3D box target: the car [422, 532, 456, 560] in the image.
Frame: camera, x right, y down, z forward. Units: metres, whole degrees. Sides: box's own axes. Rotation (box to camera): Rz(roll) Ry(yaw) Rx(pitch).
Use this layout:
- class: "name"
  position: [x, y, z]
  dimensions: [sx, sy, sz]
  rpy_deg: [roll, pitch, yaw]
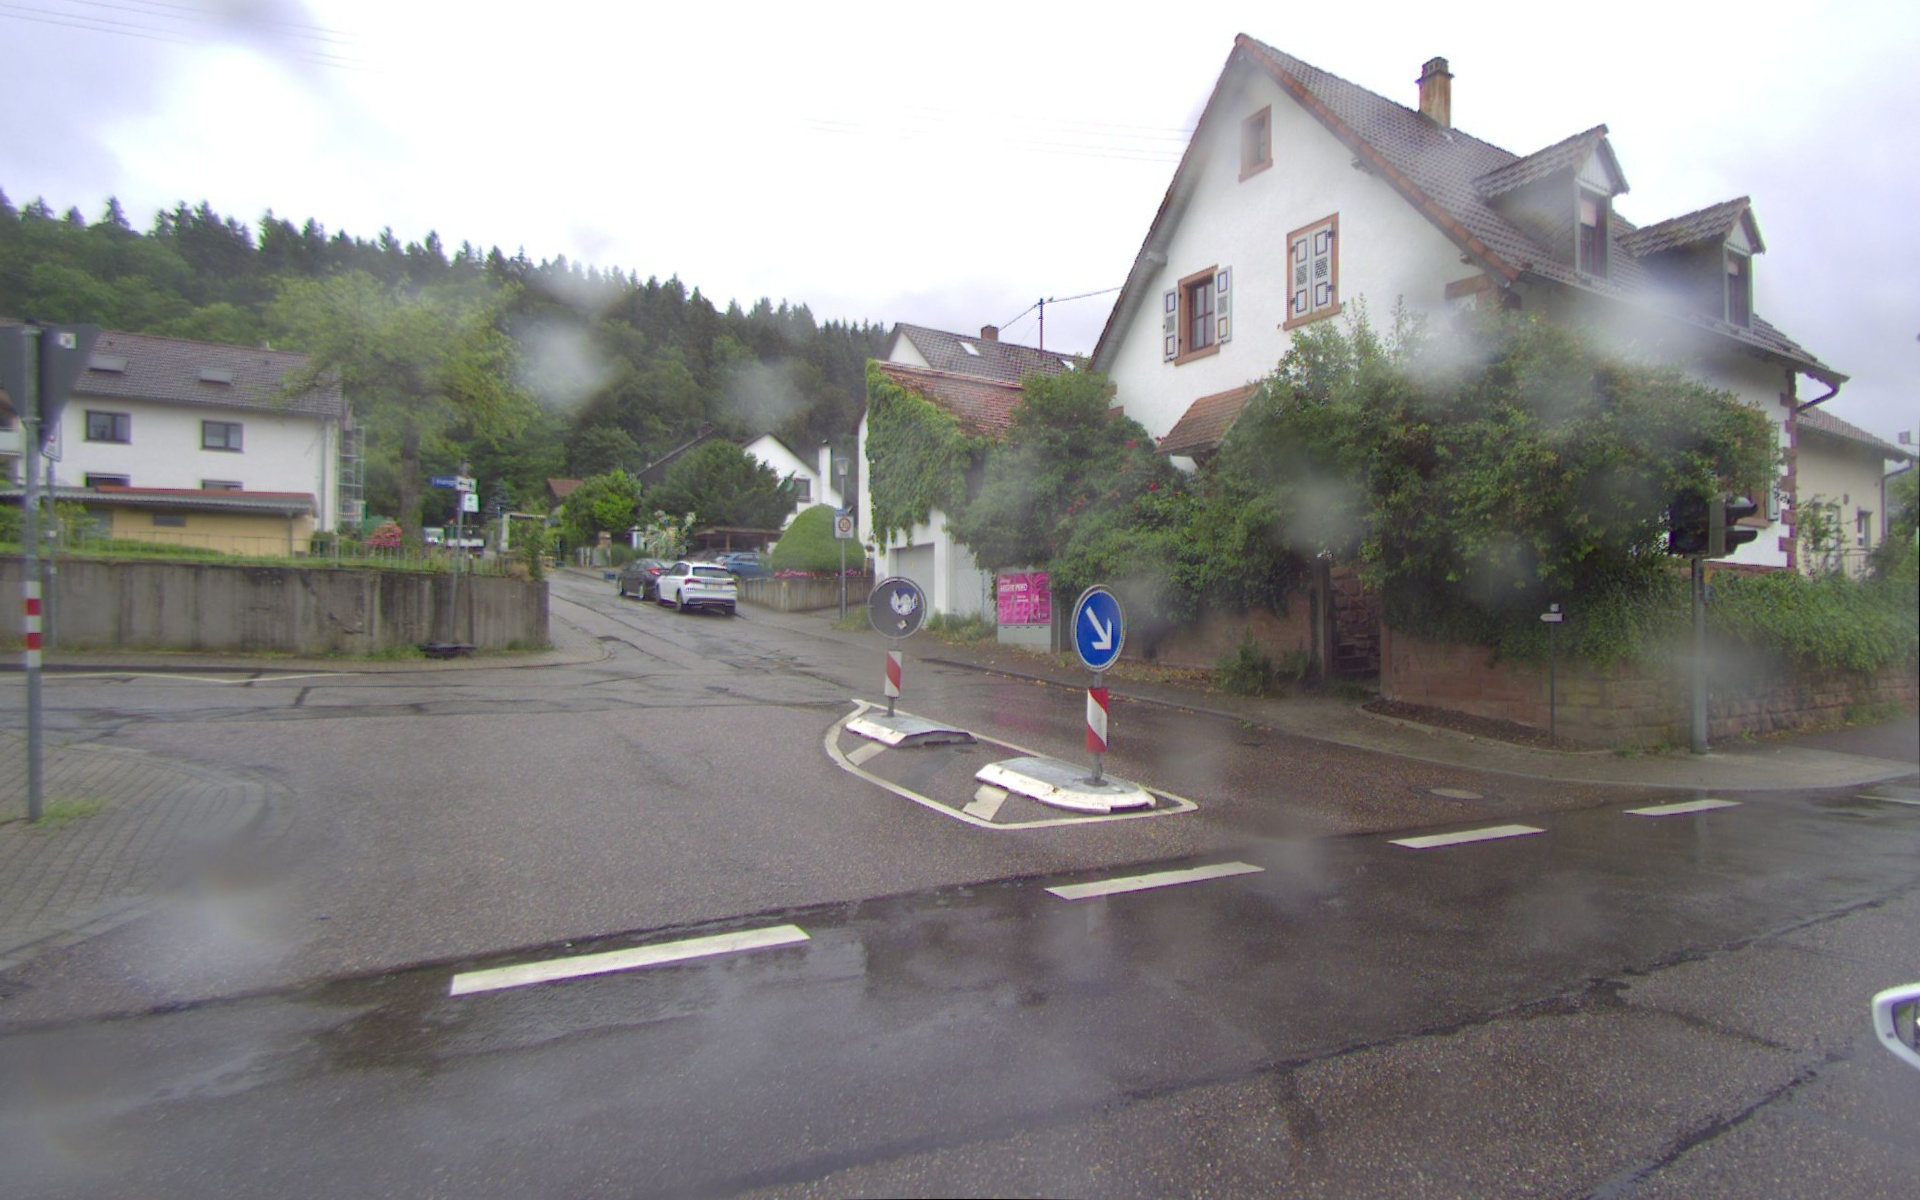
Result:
- class: "car"
  position: [-40.448, -4.166, 77.899]
  dimensions: [1.897, 2.040, 3.962]
  rpy_deg: [2, 1, -34]

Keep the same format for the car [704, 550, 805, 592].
- class: "car"
  position: [-8.959, -1.265, 43.845]
  dimensions: [3.847, 1.534, 1.884]
  rpy_deg: [2, 5, -31]

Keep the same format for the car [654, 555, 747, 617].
- class: "car"
  position: [-8.234, -0.471, 31.644]
  dimensions: [1.878, 1.534, 3.860]
  rpy_deg: [2, 5, -30]

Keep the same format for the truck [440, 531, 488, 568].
- class: "truck"
  position: [-31.359, -3.156, 63.377]
  dimensions: [2.274, 2.155, 6.029]
  rpy_deg: [2, 1, -30]

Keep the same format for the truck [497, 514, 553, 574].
- class: "truck"
  position: [-26.890, -3.372, 61.968]
  dimensions: [2.424, 3.397, 6.605]
  rpy_deg: [2, 1, -30]

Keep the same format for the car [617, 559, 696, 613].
- class: "car"
  position: [-10.895, -0.531, 35.900]
  dimensions: [1.878, 1.534, 3.860]
  rpy_deg: [2, 5, -30]
